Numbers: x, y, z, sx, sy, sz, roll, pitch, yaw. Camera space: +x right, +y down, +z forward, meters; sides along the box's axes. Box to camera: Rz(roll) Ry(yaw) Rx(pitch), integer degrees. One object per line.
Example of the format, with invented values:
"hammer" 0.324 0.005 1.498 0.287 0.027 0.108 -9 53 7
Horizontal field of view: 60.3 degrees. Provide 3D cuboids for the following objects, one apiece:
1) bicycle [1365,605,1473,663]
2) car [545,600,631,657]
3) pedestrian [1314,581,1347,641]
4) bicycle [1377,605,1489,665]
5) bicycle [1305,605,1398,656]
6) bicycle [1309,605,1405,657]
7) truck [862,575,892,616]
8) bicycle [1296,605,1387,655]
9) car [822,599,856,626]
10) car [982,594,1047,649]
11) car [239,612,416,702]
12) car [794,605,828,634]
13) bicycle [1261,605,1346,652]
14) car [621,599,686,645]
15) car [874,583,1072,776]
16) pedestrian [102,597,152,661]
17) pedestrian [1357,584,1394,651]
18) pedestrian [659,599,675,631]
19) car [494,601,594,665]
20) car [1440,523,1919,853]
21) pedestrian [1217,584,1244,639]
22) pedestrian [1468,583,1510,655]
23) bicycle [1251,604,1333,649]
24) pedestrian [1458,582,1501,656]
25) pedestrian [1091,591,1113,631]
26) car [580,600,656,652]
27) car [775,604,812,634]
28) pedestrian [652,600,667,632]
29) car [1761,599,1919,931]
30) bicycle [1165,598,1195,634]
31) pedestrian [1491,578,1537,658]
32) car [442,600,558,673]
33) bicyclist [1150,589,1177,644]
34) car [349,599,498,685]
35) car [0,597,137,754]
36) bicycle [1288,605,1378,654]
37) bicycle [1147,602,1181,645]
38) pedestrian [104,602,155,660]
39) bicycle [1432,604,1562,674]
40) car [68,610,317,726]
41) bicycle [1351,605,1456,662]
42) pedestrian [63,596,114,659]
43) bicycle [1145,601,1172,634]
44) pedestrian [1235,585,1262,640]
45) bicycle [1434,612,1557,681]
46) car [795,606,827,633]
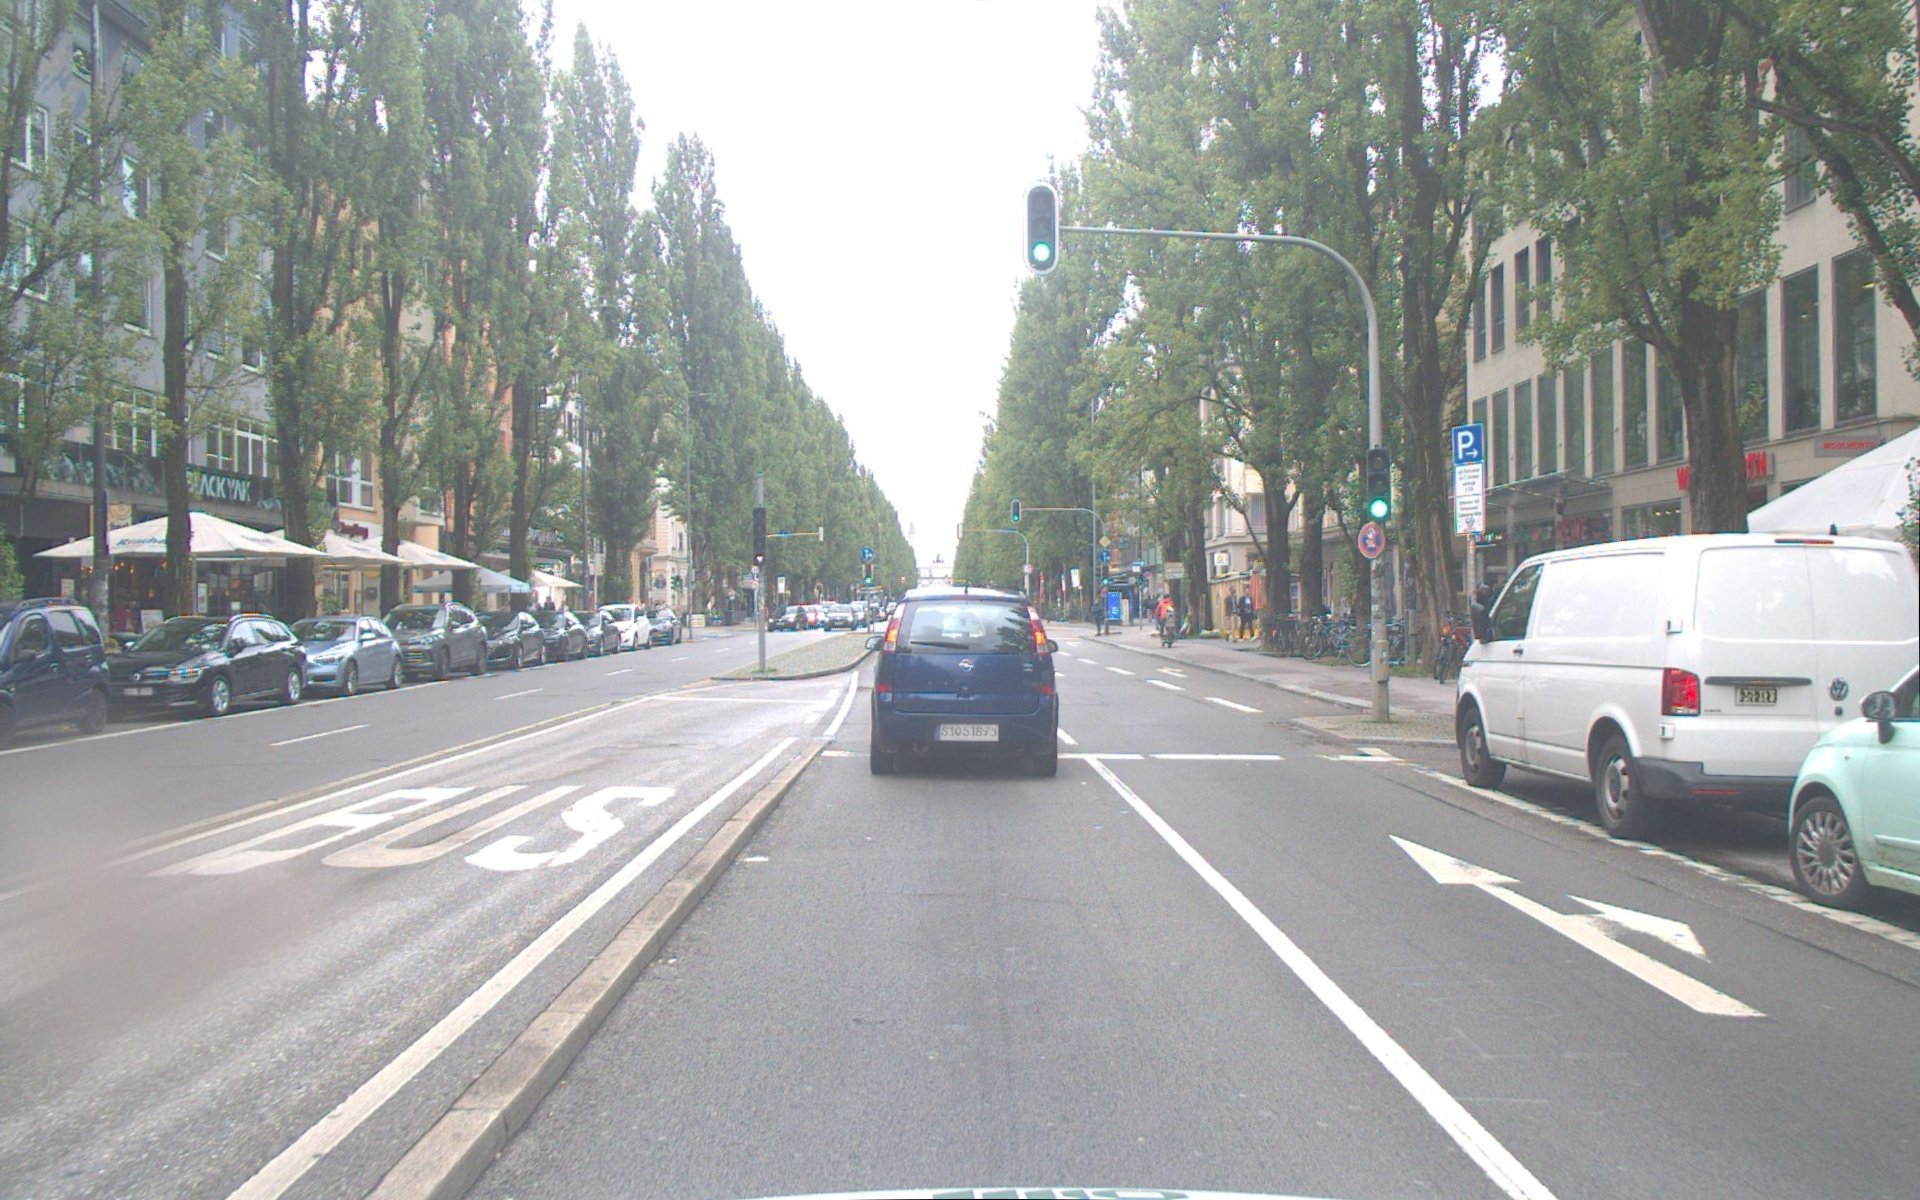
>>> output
"bicycle" 10.048 0.741 36.222 2.182 1.225 0.626 -1 0 -3
"car" -11.893 0.889 53.171 1.828 1.695 4.119 -2 0 -1
"pedestrian" 11.637 0.351 51.919 0.707 1.859 0.885 1 -1 -11
"bicycle" 10.023 0.739 35.110 2.182 1.225 0.626 -1 0 -3
"bicycle" 9.836 0.757 41.597 2.182 1.225 0.626 -1 0 -3
"bicycle" 9.787 0.751 40.787 2.182 1.225 0.626 -1 0 -3
"truck" -7.092 -0.356 142.228 2.334 3.405 7.109 -1 0 -1
"bicycle" 9.775 0.765 42.394 2.182 1.225 0.626 -1 0 -3
"car" -6.849 0.711 93.585 1.699 1.491 3.364 -1 0 -1
"car" 1.676 0.642 51.938 1.858 1.650 3.999 0 0 -1
"car" -11.620 1.002 30.698 1.698 1.450 4.142 -2 0 -1
"car" -9.323 1.199 103.673 1.828 1.695 4.119 -1 0 -1
"bicycle" 9.408 0.776 45.301 2.182 1.225 0.626 -1 0 -3
"car" -12.144 0.846 65.704 1.828 1.695 4.119 -2 0 -1
"car" 0.091 0.662 15.756 1.637 1.596 3.999 0 0 -1
"pedestrian" -19.085 0.655 37.905 0.750 1.434 0.799 1 -1 -6
"pedestrian" 11.676 0.497 46.506 0.707 1.859 0.885 1 -1 -11
"pedestrian" -16.579 0.856 93.570 0.755 1.797 0.881 -1 0 -16
"car" -11.913 0.910 47.644 1.828 1.695 4.119 -2 0 -1
"car" 5.170 0.524 12.333 1.751 1.980 4.729 0 0 -1
"pedestrian" 9.290 0.402 56.770 0.625 1.859 0.885 1 -1 -11
"pedestrian" 13.950 0.508 43.595 0.707 1.859 0.885 1 -1 -11
"bicycle" 9.362 0.741 46.678 2.182 1.225 0.626 -1 0 -3
"pedestrian" 13.262 0.484 42.215 0.707 1.859 0.885 1 -1 -11
"pedestrian" 6.399 0.484 74.495 0.865 1.797 0.769 -1 0 -4
"car" -12.038 0.882 58.430 1.828 1.695 4.119 -2 0 -1
"car" -9.808 1.116 97.651 1.828 1.695 4.119 -1 0 -1
"pedestrian" -17.407 0.919 95.818 0.754 1.797 0.882 -1 0 -14
"car" 5.154 0.755 7.317 1.509 1.518 3.523 0 0 0
"bicycle" 8.445 0.599 63.483 0.757 1.372 2.449 -1 0 -1
"pedestrian" 12.063 0.389 36.030 0.660 1.715 0.758 -1 -1 -5
"car" -11.739 0.894 42.493 1.828 1.695 4.119 -2 0 -1
"bicyclist" 6.691 0.539 54.383 0.752 1.797 0.885 -1 0 -1
"car" -11.706 0.869 36.386 1.828 1.695 4.400 -2 0 -1
"car" -11.659 0.873 19.905 1.676 1.751 3.919 -2 0 -4
"bicycle" 9.734 0.773 43.189 2.182 1.225 0.626 -1 0 -3
"bicycle" 6.696 0.753 54.338 0.757 1.372 2.449 -1 0 -1
"pedestrian" -20.678 0.766 41.193 0.780 1.434 0.768 1 -1 11
"bicycle" 9.892 0.718 30.498 2.182 1.225 0.626 -1 0 -3
"car" -11.544 0.963 25.236 1.762 1.515 4.349 -2 0 -1
"bicycle" 9.998 0.740 37.304 2.182 1.225 0.626 -1 0 -3
"pedestrian" -20.175 0.641 38.301 0.750 1.434 0.799 1 -1 -6
"bicycle" 8.244 0.719 68.896 0.757 1.372 2.449 -1 0 -1
"pedestrian" 9.969 0.437 57.174 0.625 1.859 0.885 1 -1 -11
"bicycle" 9.448 0.815 29.212 1.955 1.153 0.626 -1 0 -3
"car" -9.952 1.272 110.566 1.828 1.695 4.119 -1 0 -1
